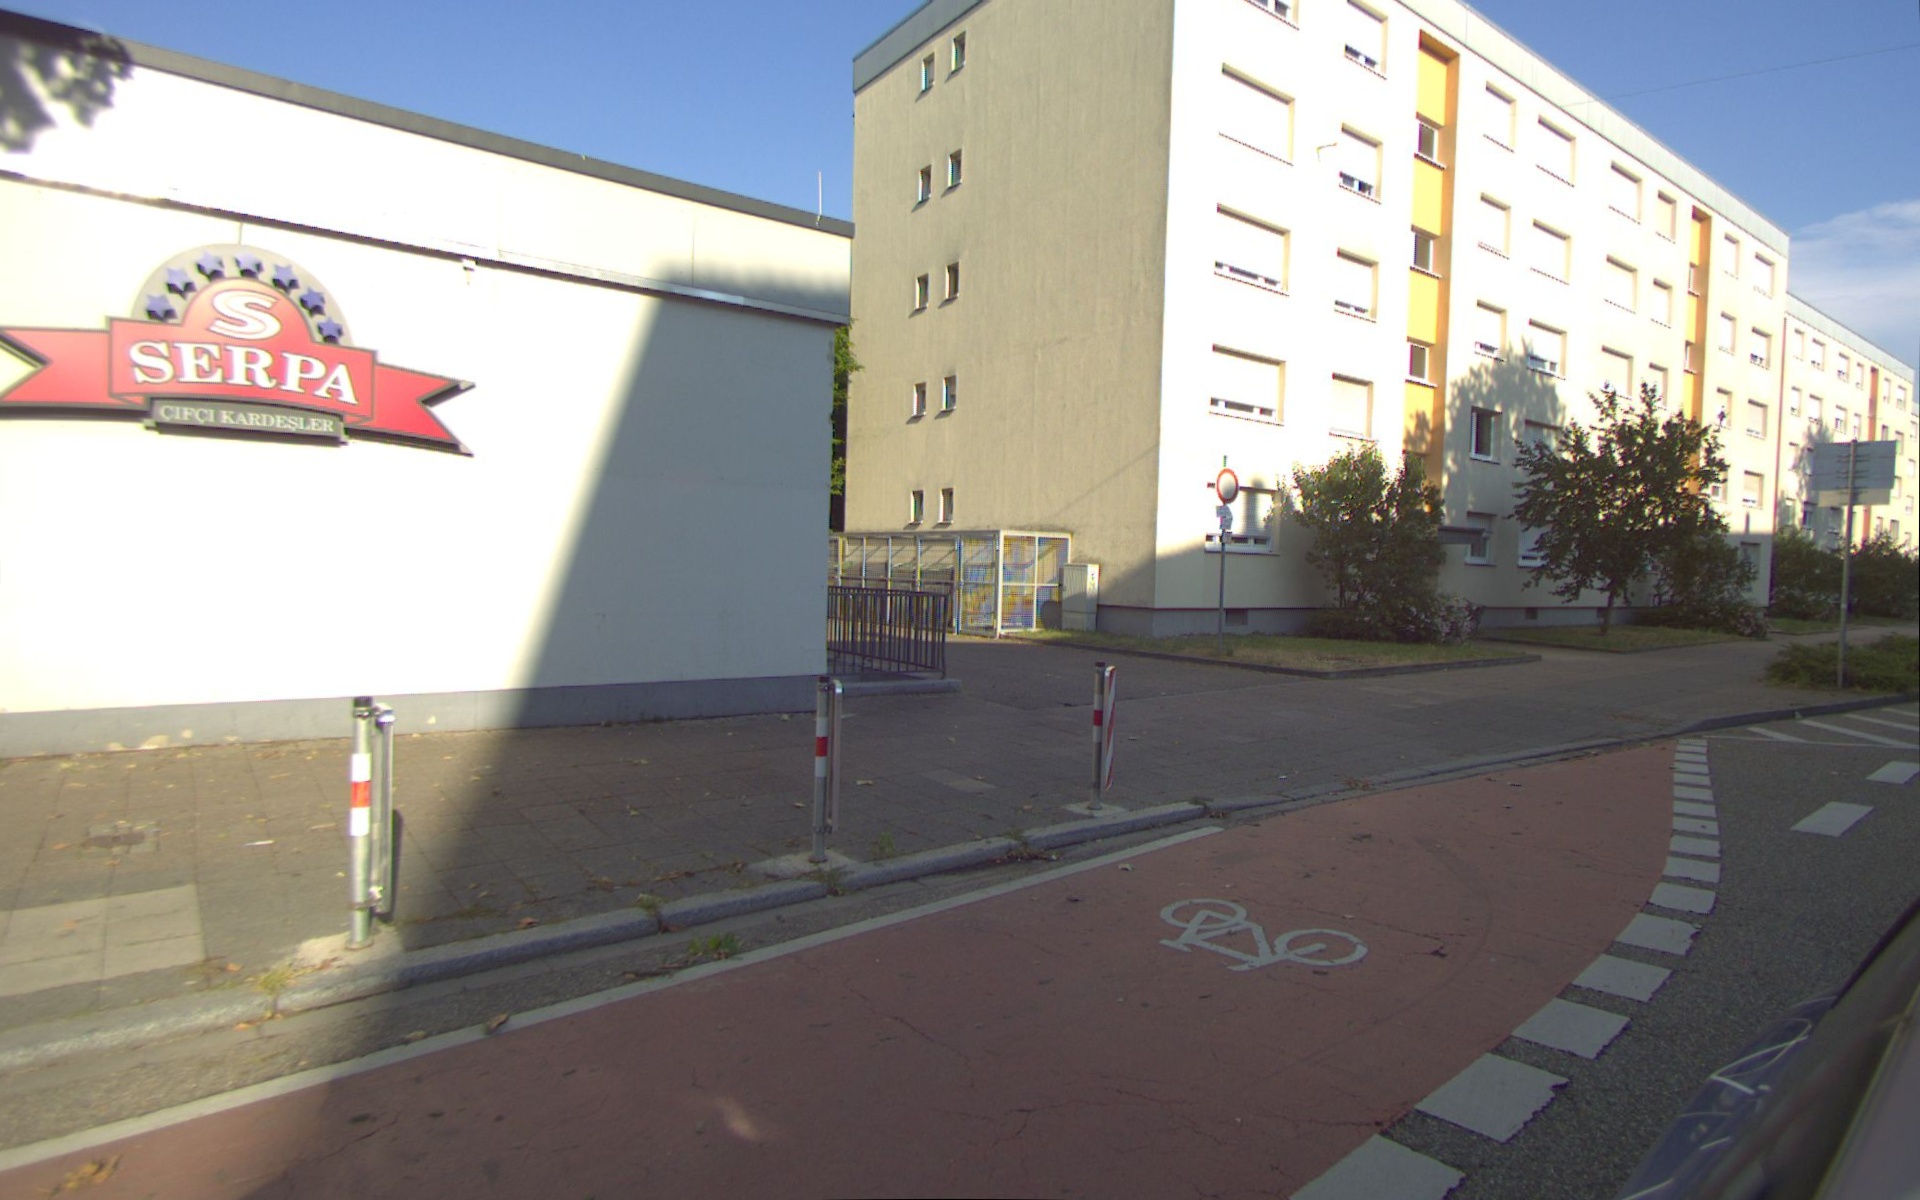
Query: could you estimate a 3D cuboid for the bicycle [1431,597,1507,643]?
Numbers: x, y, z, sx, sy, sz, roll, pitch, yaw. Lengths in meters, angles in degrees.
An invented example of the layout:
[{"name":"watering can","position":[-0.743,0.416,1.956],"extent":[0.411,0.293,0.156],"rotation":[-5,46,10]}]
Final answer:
[{"name":"bicycle","position":[10.891,0.432,21.629],"extent":[2.190,0.937,0.637],"rotation":[2,-1,-40]}]
